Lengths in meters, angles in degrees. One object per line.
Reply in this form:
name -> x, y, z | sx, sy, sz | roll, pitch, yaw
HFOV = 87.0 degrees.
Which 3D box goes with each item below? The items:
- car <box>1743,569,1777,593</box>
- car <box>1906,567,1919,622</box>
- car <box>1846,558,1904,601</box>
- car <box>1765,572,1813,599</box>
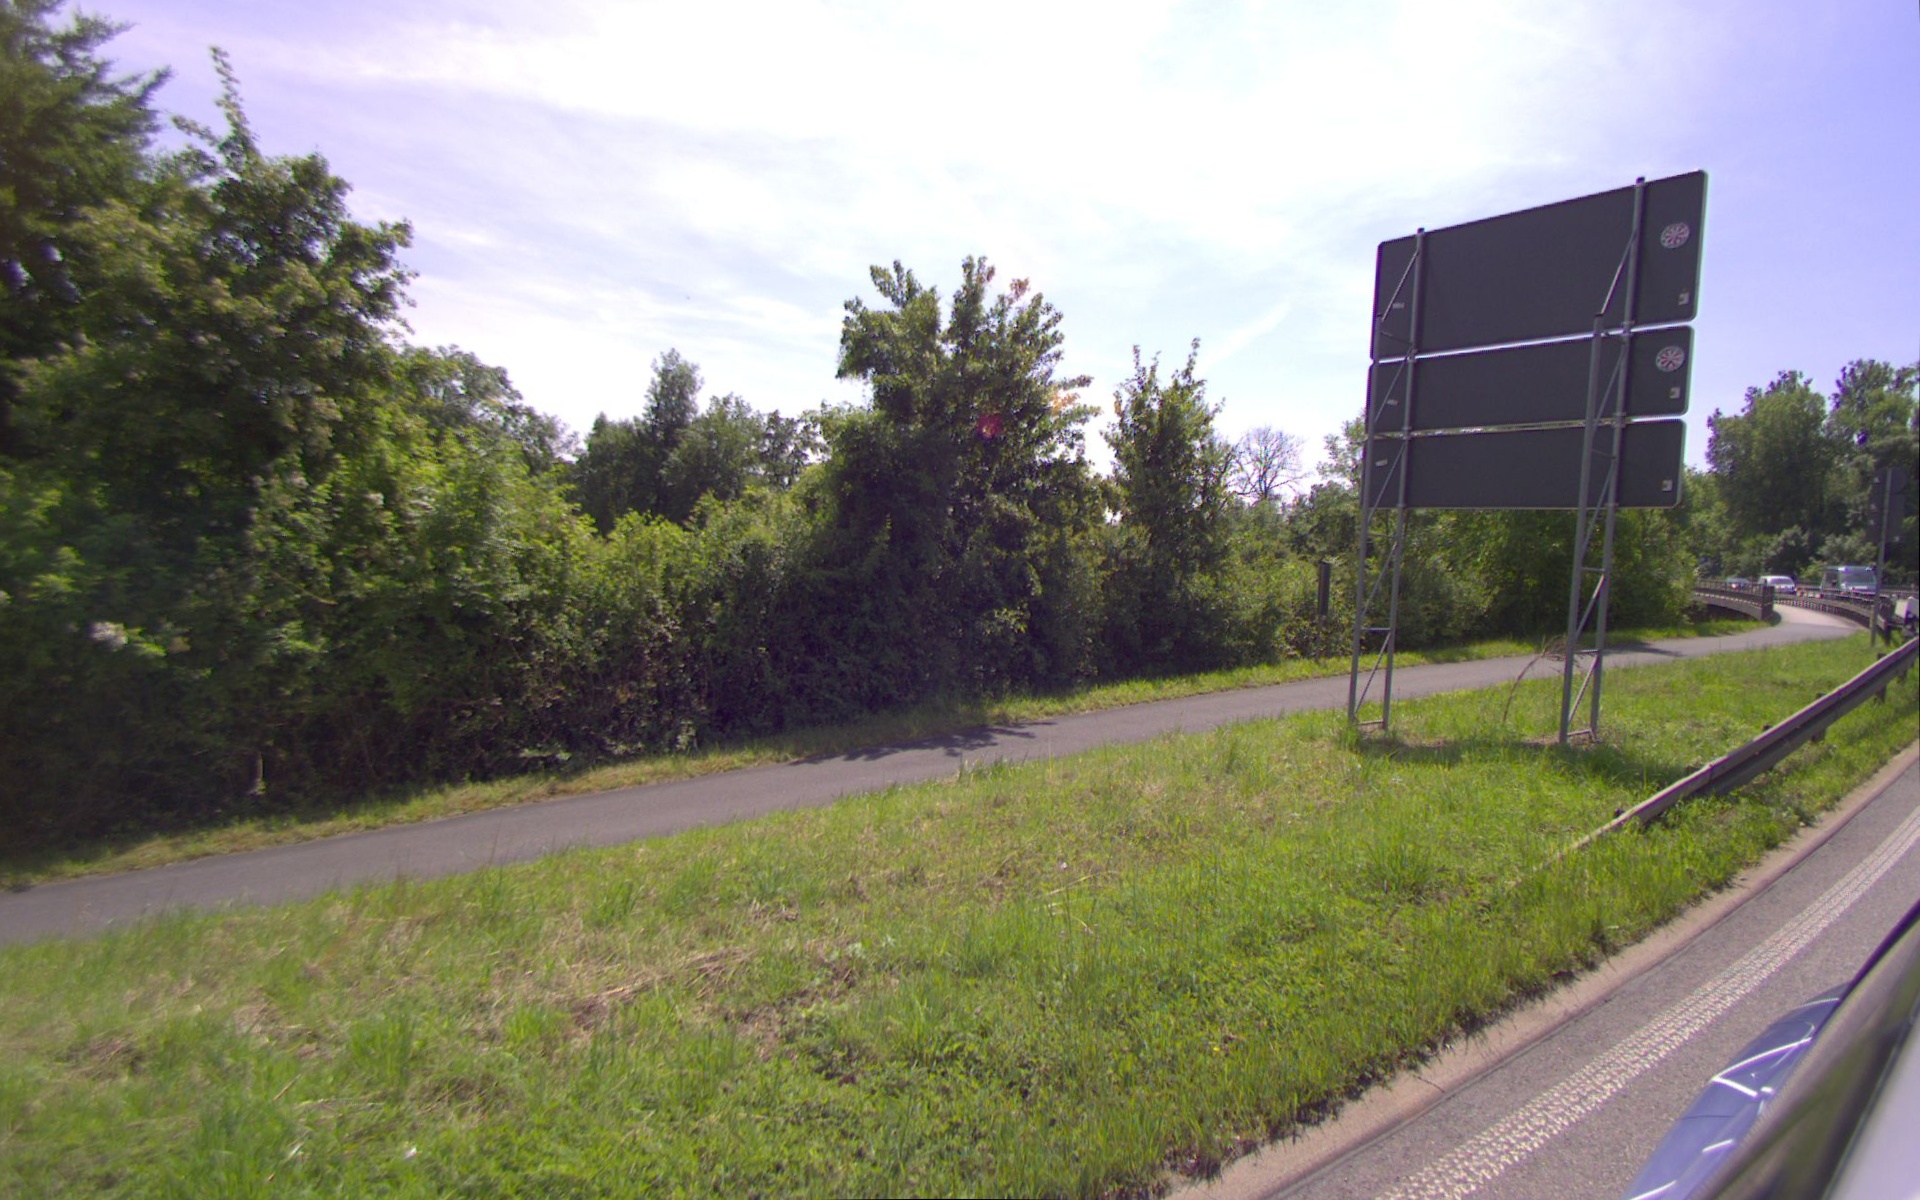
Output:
car -> 72.677, -1.718, 92.008 | 1.984, 2.038, 3.956 | 0, 2, 32
car -> 38.312, -0.243, 39.269 | 1.990, 2.038, 3.946 | 0, 2, 38
car -> 55.816, -1.284, 61.803 | 1.987, 2.515, 4.800 | 0, 2, 35
car -> 64.791, -1.155, 79.158 | 1.981, 2.038, 4.668 | 0, 2, 28
